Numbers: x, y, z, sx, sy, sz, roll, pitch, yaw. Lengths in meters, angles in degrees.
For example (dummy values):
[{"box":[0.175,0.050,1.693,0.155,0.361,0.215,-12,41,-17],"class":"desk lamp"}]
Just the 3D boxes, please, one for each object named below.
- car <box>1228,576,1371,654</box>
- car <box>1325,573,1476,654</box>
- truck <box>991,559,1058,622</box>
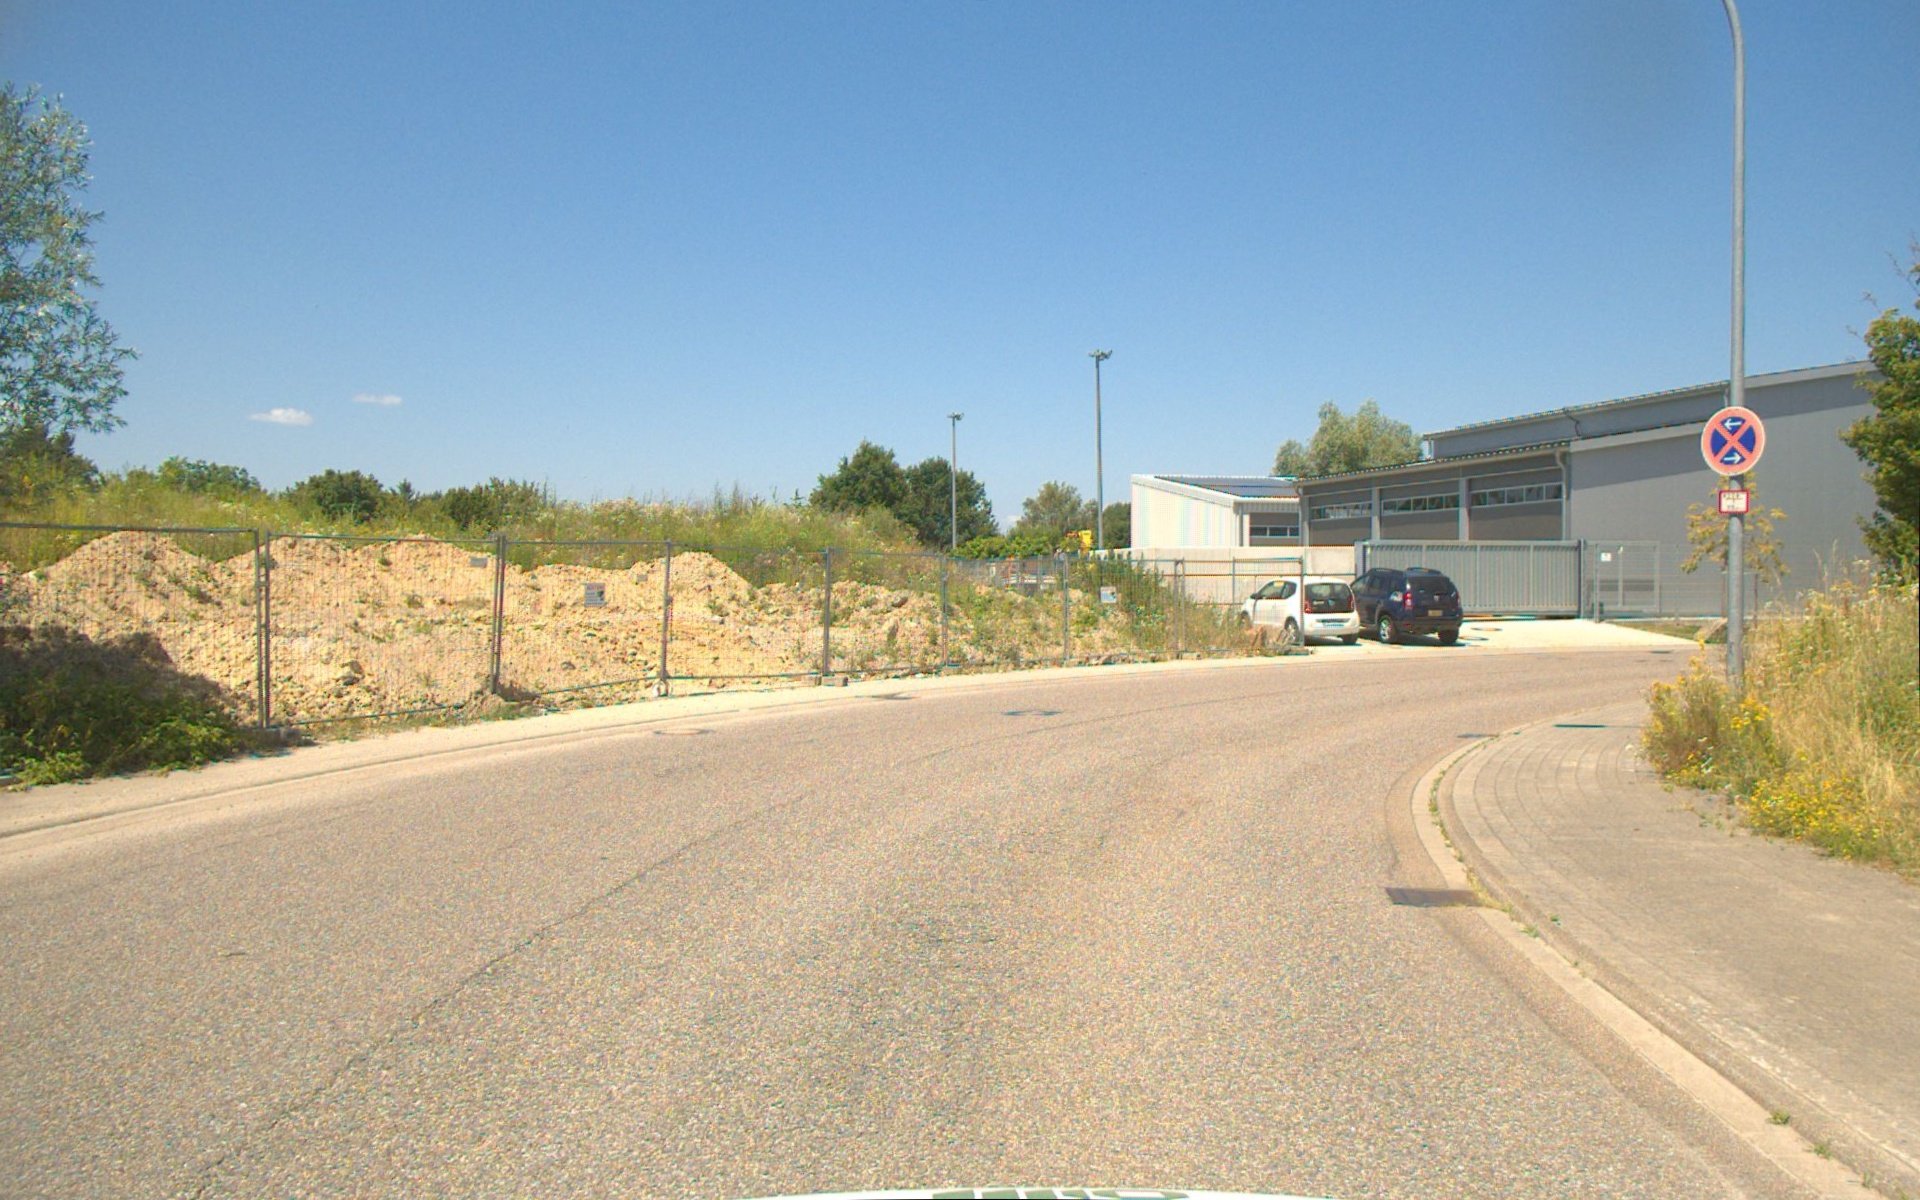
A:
[{"box":[7.863,0.305,38.612,1.754,1.524,3.687,-1,4,-17],"class":"car"},{"box":[10.304,0.265,38.953,1.766,1.636,3.687,-1,4,-17],"class":"car"},{"box":[3.158,-0.460,82.112,1.961,3.037,4.626,-1,0,-16],"class":"truck"}]
